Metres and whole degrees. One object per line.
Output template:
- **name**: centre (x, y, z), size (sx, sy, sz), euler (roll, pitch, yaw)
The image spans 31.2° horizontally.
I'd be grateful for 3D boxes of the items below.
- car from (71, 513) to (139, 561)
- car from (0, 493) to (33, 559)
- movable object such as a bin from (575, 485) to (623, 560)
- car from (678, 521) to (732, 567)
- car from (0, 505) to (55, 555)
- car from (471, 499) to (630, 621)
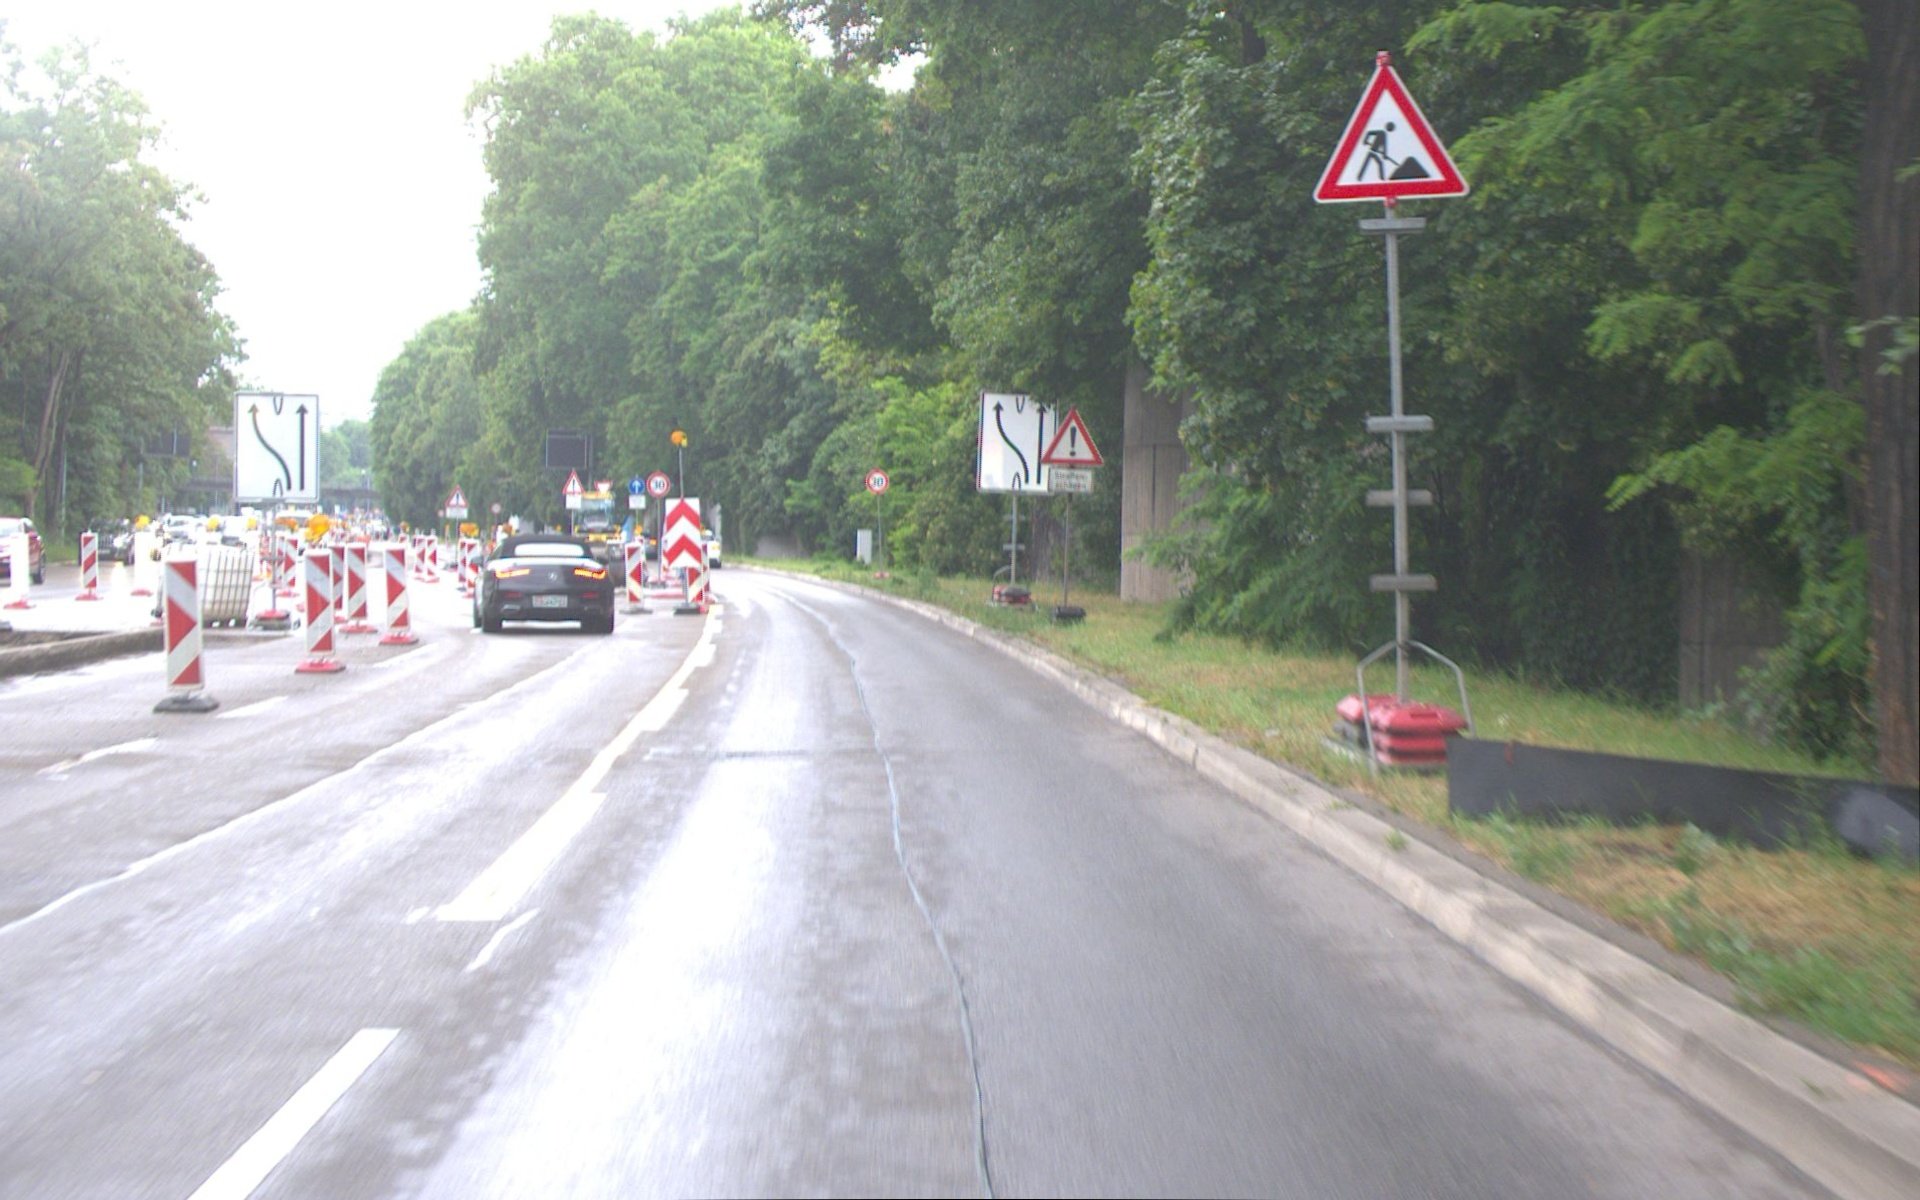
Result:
- **car**: centre (-30.768, -2.283, 123.735), size (1.635, 1.641, 4.200), euler (0, 2, -4)
- **car**: centre (-25.983, -1.922, 90.623), size (1.844, 1.717, 4.720), euler (-3, 2, -2)
- **movable object such as a bin**: centre (-13.855, -2.974, 131.767), size (1.746, 2.857, 3.535), euler (0, 1, -7)
- **car**: centre (-9.780, -2.158, 131.567), size (1.913, 1.592, 4.835), euler (1, 2, -6)
- **car**: centre (-22.674, -1.675, 81.139), size (1.605, 1.148, 4.283), euler (1, 1, -2)
- **car**: centre (-5.860, -0.615, 49.581), size (1.862, 1.486, 4.001), euler (2, 4, -2)
